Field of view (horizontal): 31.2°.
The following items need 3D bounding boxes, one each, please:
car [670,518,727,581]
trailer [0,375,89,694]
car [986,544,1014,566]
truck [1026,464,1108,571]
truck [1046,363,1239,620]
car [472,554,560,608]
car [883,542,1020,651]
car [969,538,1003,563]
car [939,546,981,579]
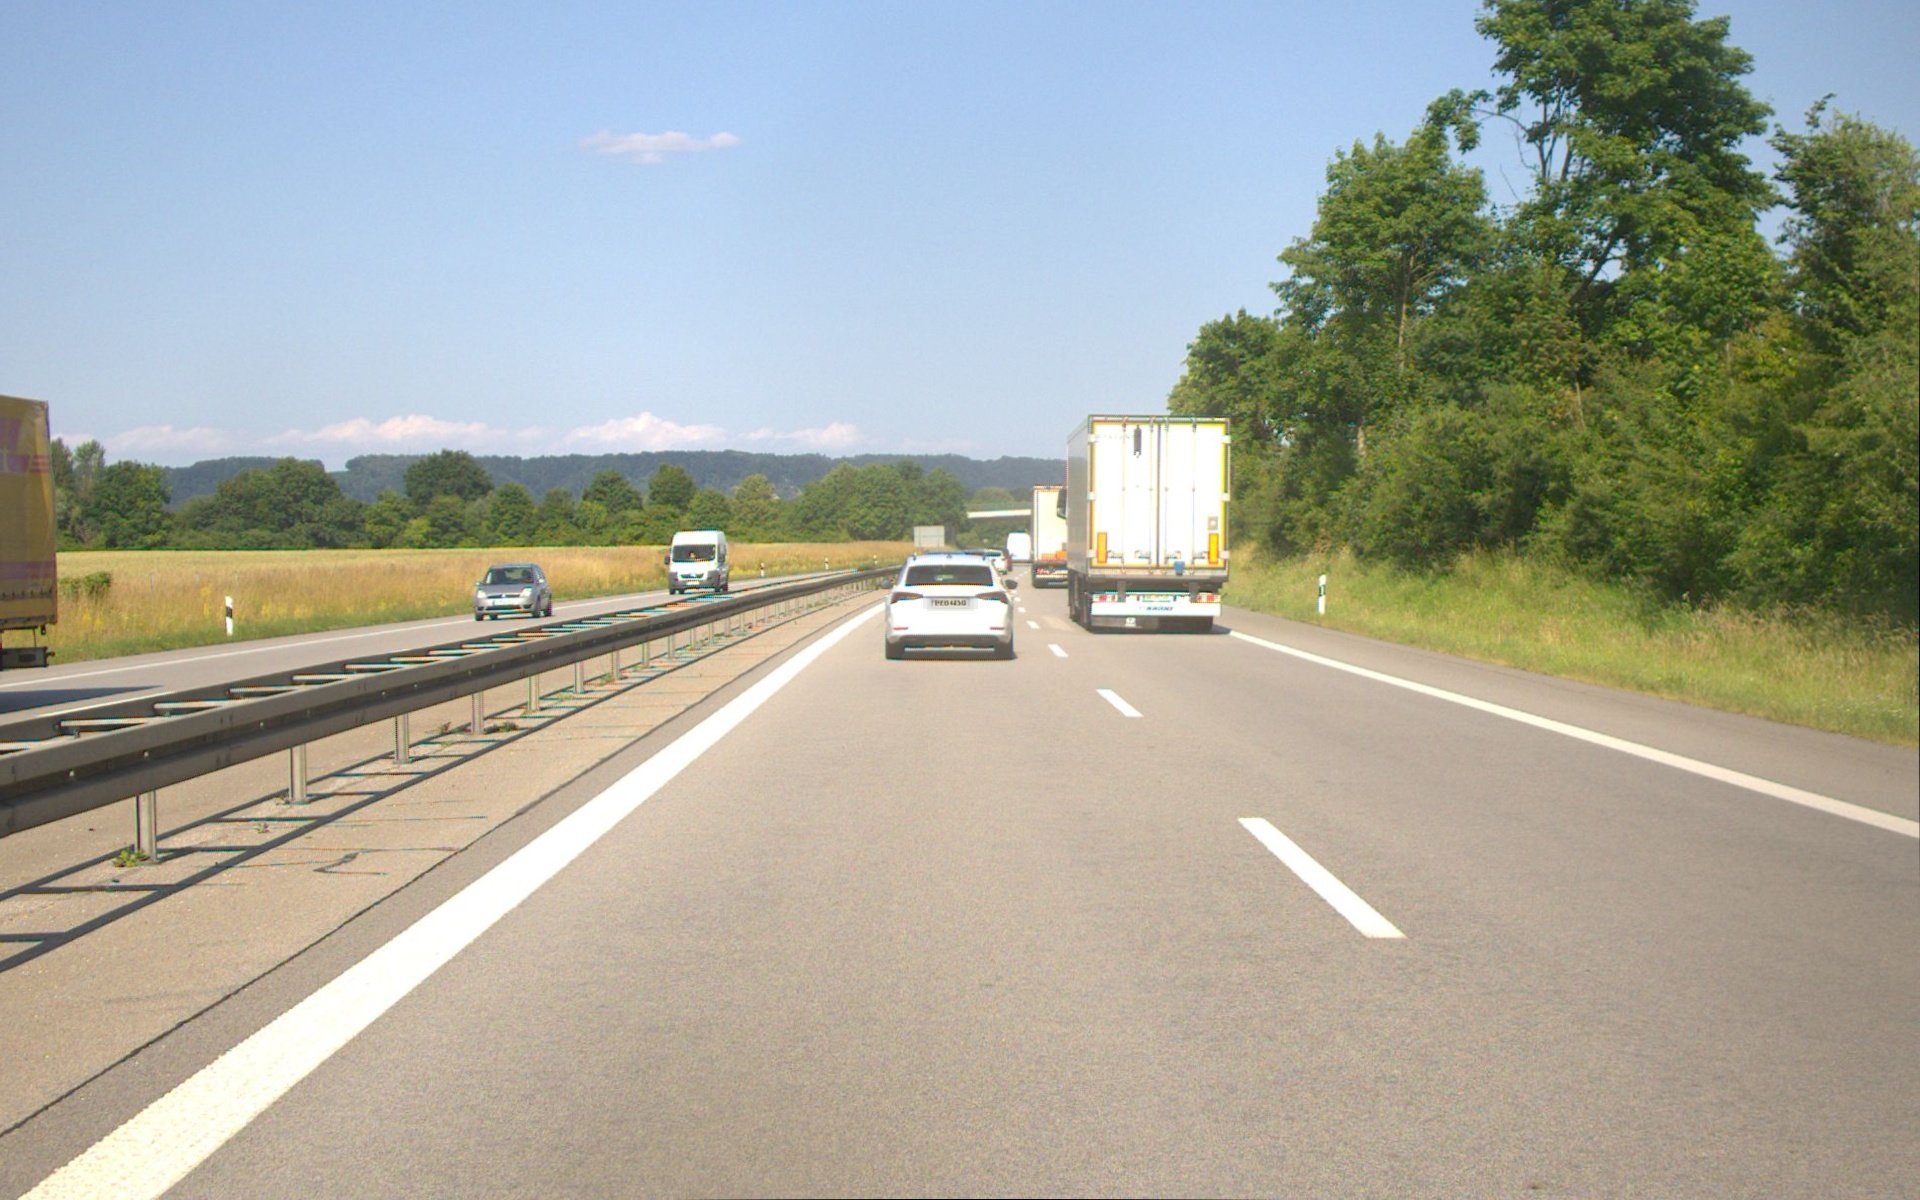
[{"bbox_3d":[-10.593,-2.060,139.615,1.925,2.467,5.186,-1,1,0],"label":"car"},{"bbox_3d":[-11.716,-0.644,36.122,2.735,3.448,9.233,-3,1,-1],"label":"trailer"},{"bbox_3d":[2.577,-2.906,220.293,1.771,1.416,4.365,0,1,1],"label":"car"},{"bbox_3d":[4.219,-3.278,137.078,3.013,4.101,8.905,-1,1,1],"label":"truck"},{"bbox_3d":[3.407,-2.041,66.455,3.152,4.596,8.906,-1,1,0],"label":"truck"},{"bbox_3d":[-11.737,-0.520,91.125,1.835,1.371,4.000,-1,1,0],"label":"car"},{"bbox_3d":[-0.167,-0.092,48.960,1.840,1.416,5.255,1,1,-1],"label":"car"},{"bbox_3d":[1.482,-2.820,195.956,1.771,1.416,4.365,0,1,-1],"label":"car"},{"bbox_3d":[-0.014,-1.646,149.551,1.771,1.416,4.365,0,1,-1],"label":"car"}]
